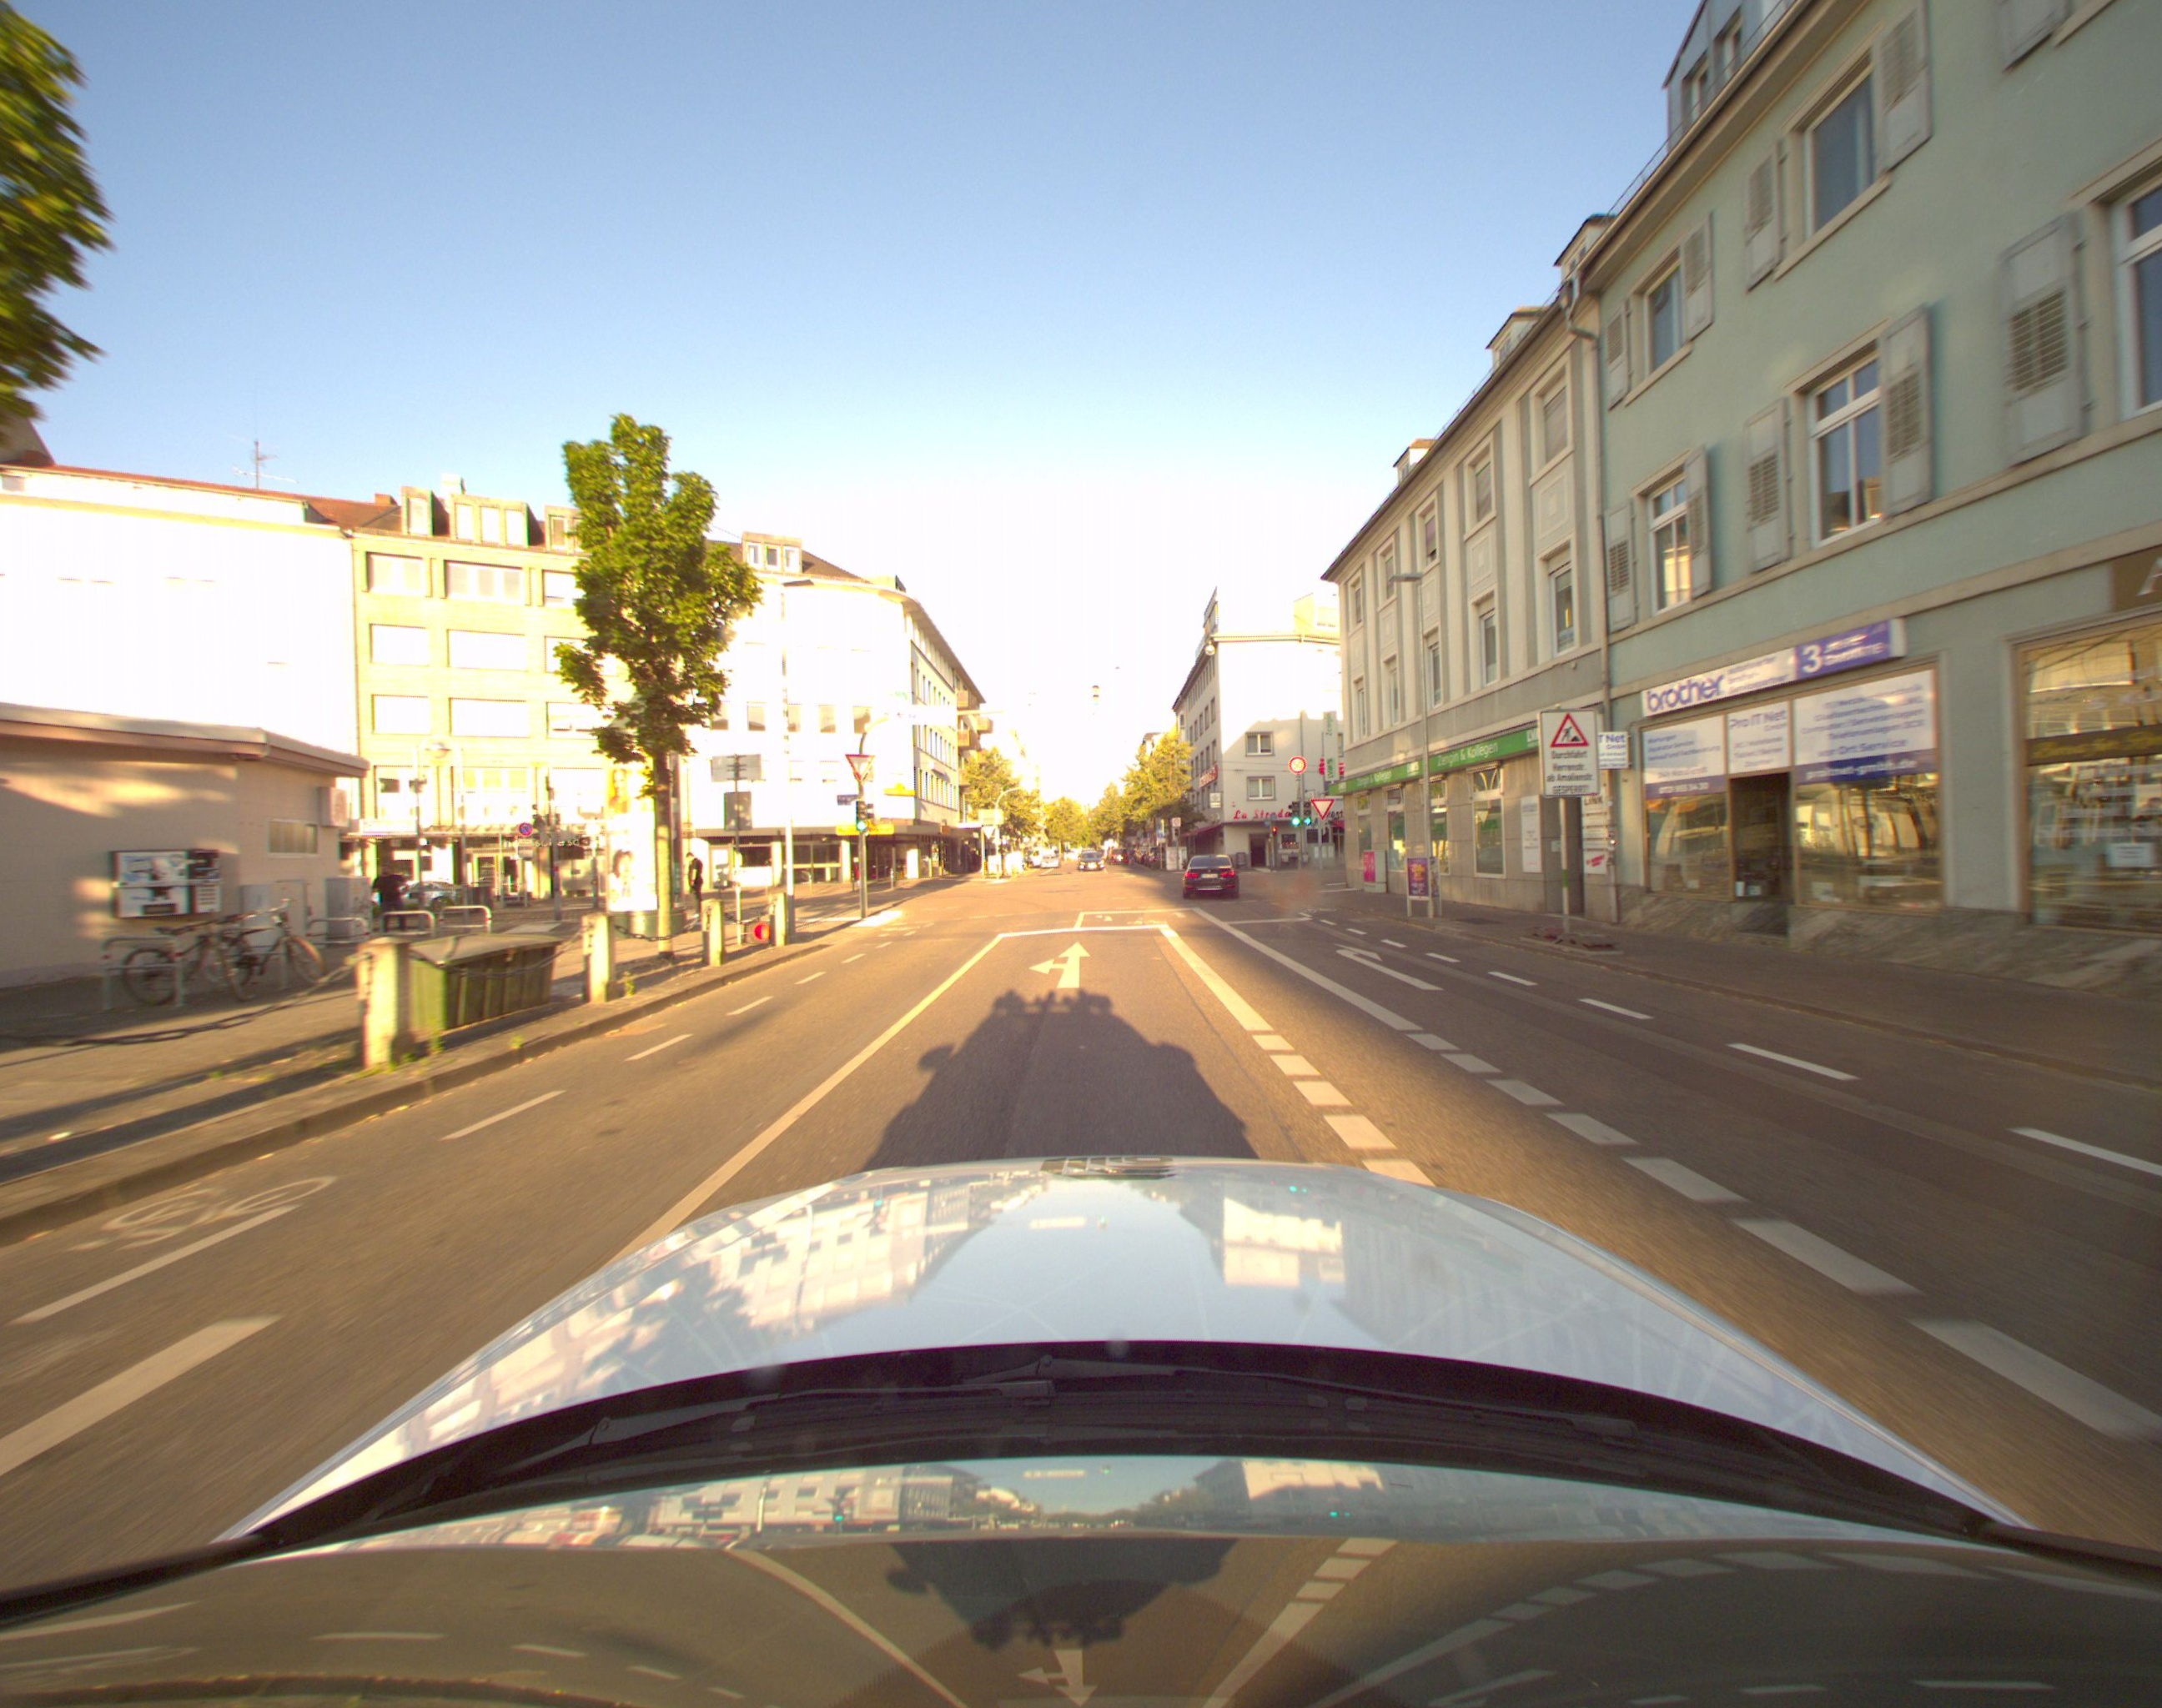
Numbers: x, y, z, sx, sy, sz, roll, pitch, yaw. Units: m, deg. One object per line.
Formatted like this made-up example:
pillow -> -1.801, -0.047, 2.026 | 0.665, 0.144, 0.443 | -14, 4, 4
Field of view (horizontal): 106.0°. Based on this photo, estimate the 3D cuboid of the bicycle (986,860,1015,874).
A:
bicycle -> -5.716, 0.911, 57.773 | 2.005, 0.992, 0.490 | 0, -1, -4

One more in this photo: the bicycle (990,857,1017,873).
bicycle -> -5.830, 0.810, 61.288 | 2.002, 1.219, 0.491 | 0, -1, 0

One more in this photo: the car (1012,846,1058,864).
car -> -4.744, 0.102, 84.345 | 1.974, 1.828, 4.912 | -1, -1, 39

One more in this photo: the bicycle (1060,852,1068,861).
bicycle -> -2.618, 0.456, 126.487 | 0.844, 1.351, 3.178 | -2, 0, -8

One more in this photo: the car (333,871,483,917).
car -> -27.304, 1.577, 33.224 | 4.300, 1.575, 1.788 | -2, 1, -19

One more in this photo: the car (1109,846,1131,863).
car -> 3.828, 0.087, 78.632 | 1.984, 1.601, 4.515 | 0, -1, 5

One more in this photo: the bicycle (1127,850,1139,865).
bicycle -> 4.267, 0.305, 67.449 | 0.778, 1.204, 2.019 | -2, 0, -2

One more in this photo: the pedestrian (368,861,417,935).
pedestrian -> -16.075, 0.995, 19.031 | 0.782, 1.676, 0.897 | 0, -1, -34

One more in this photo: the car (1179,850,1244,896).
car -> 4.358, 0.603, 27.332 | 1.982, 1.420, 4.520 | 0, -1, 9

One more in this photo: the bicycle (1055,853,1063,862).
bicycle -> -3.483, 0.504, 126.355 | 0.892, 1.395, 3.157 | -1, 0, -8

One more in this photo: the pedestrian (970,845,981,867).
pedestrian -> -9.046, 0.189, 70.046 | 0.737, 1.819, 0.814 | -2, 1, 3

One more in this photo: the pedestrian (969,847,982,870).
pedestrian -> -8.862, 0.376, 68.464 | 0.763, 1.847, 0.745 | -1, 1, 10

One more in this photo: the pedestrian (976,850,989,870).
pedestrian -> -8.371, 0.540, 69.348 | 0.760, 1.676, 0.747 | -1, 0, 43

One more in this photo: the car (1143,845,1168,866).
car -> 6.511, 0.093, 71.518 | 1.650, 1.778, 4.008 | 0, 1, -2

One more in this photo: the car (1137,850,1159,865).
car -> 6.499, 0.345, 79.255 | 1.747, 1.420, 4.509 | 0, 1, 0

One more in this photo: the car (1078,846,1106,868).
car -> 0.795, 0.174, 62.037 | 1.953, 1.547, 4.507 | -2, 1, -1

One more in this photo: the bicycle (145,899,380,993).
bicycle -> -10.885, 1.204, 10.899 | 2.187, 1.087, 0.778 | -2, -1, -6

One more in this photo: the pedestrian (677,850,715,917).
pedestrian -> -10.641, 0.800, 22.494 | 0.909, 1.784, 0.873 | 0, -1, -30

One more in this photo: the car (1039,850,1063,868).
car -> -2.796, 0.499, 77.072 | 1.987, 1.511, 4.510 | -4, -1, 1

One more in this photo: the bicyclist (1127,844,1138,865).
bicyclist -> 4.257, 0.010, 67.424 | 0.778, 1.696, 1.006 | -2, -1, -2

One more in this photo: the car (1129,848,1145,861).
car -> 7.443, 0.114, 108.491 | 1.805, 1.668, 4.206 | 0, -1, 1

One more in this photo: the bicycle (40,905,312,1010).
bicycle -> -10.786, 1.207, 9.778 | 2.212, 1.087, 0.778 | -1, -1, -6

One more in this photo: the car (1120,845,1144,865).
car -> 4.217, 0.111, 68.135 | 1.717, 1.549, 4.466 | -3, -1, 1
